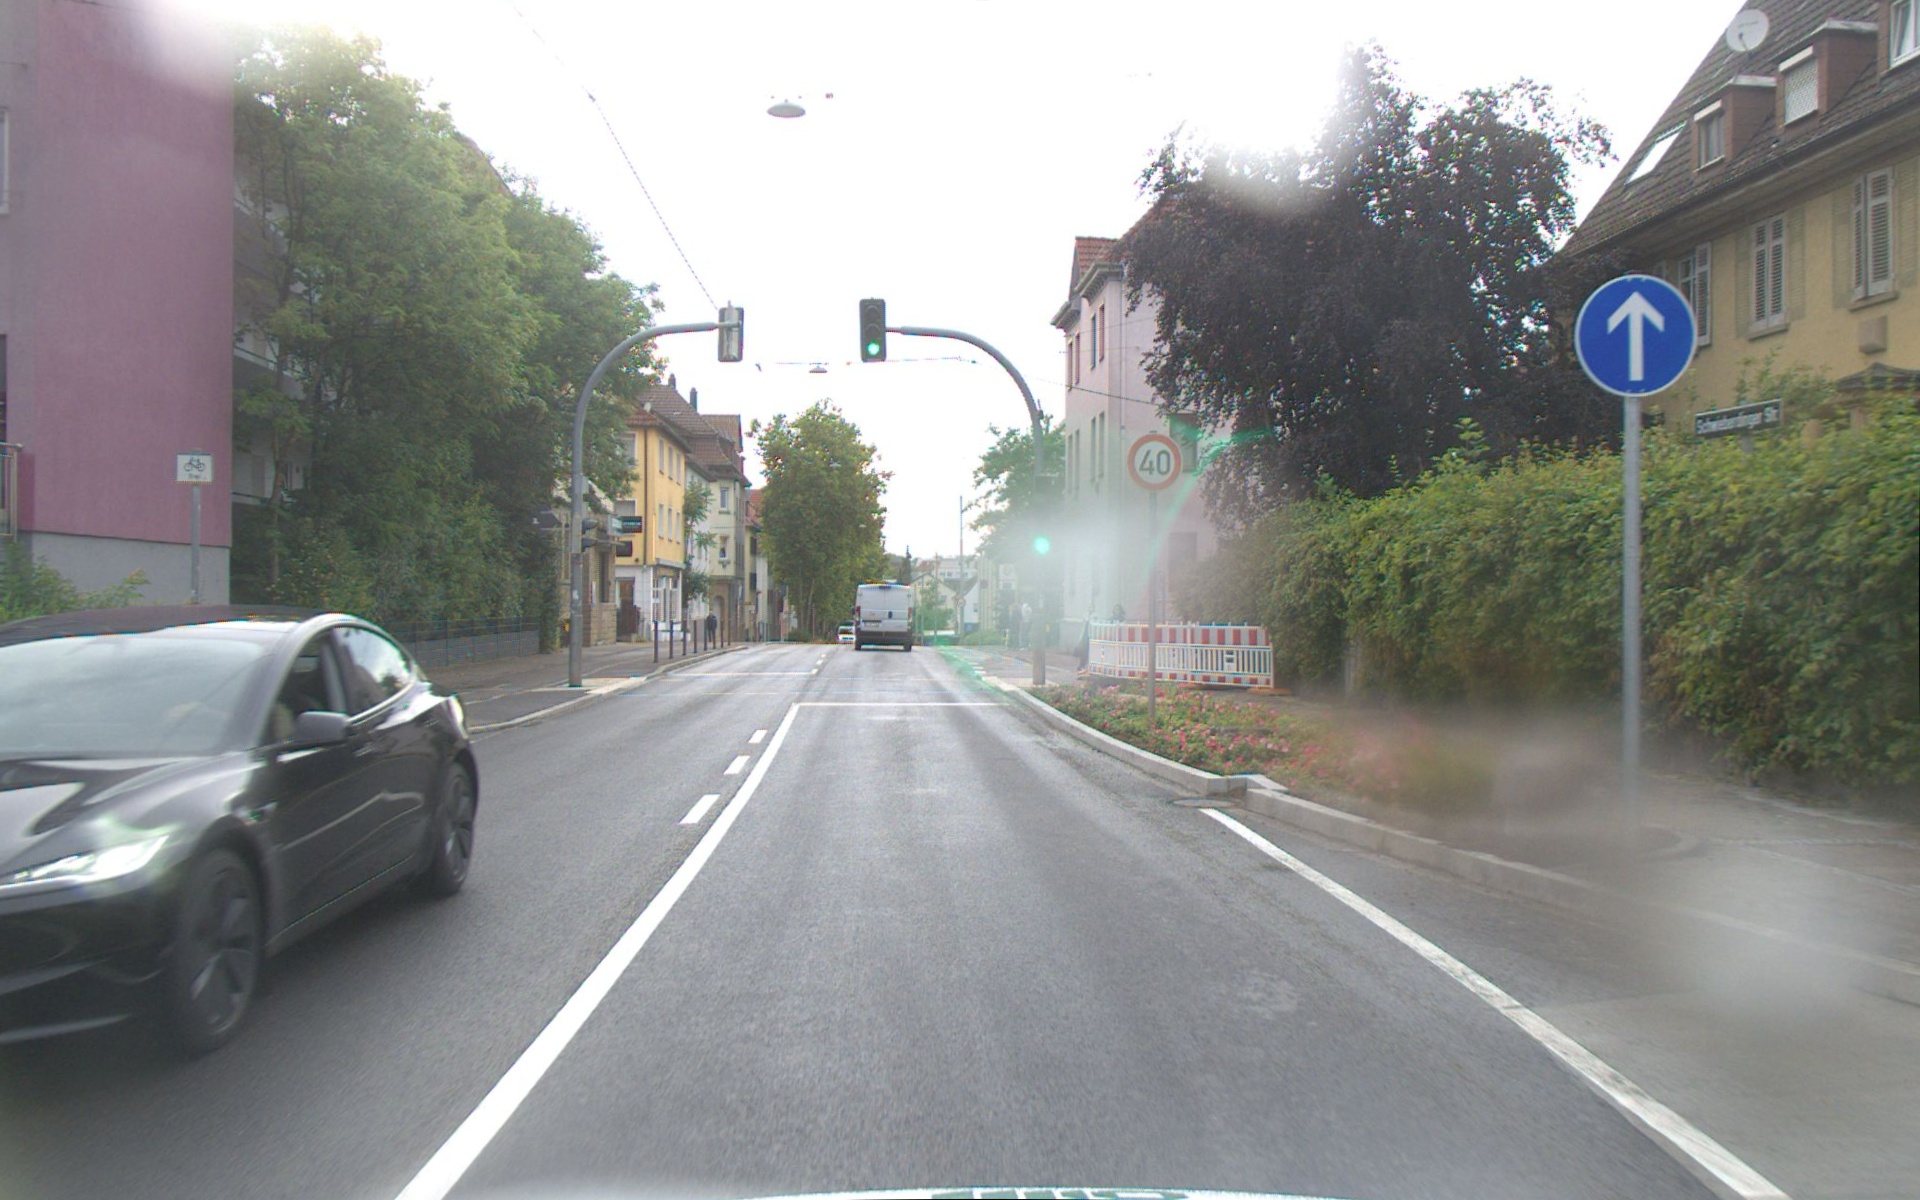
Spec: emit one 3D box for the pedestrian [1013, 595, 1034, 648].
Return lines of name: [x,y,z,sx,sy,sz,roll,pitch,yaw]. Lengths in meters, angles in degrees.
pedestrian: [2.334,0.777,60.747,0.477,1.908,0.631,-3,-1,31]

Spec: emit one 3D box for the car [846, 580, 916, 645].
car: [-2.867,0.433,59.016,2.301,2.198,4.772,0,0,-5]

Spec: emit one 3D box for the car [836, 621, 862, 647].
car: [-8.301,2.590,124.106,1.844,1.903,4.450,0,-2,-3]

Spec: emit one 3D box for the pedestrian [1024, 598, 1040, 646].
pedestrian: [2.664,0.811,61.381,0.437,1.738,0.558,-3,-1,14]

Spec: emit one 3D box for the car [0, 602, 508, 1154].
car: [-3.245,0.767,6.708,1.747,1.478,4.388,0,0,-2]

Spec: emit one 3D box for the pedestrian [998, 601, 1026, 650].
pedestrian: [1.882,0.931,60.227,0.630,1.740,0.739,-2,-1,-37]

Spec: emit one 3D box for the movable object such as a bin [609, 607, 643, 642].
movable object such as a bin: [-14.119,1.042,69.909,1.275,1.427,0.982,1,-1,-4]

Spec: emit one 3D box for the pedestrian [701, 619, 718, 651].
pedestrian: [-13.389,1.887,88.531,0.799,1.709,0.992,1,-2,-6]

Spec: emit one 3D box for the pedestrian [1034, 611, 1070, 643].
pedestrian: [3.819,1.138,68.632,1.330,1.295,0.740,-1,-1,-9]

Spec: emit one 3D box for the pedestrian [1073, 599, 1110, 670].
pedestrian: [3.154,0.824,39.712,0.767,1.670,1.222,1,-1,1]

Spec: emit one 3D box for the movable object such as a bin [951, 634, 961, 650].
movable object such as a bin: [-0.323,3.180,125.078,0.681,1.101,0.778,-3,-2,-2]

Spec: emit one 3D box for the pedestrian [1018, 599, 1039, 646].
pedestrian: [2.673,0.879,64.303,0.648,1.772,0.827,-1,-1,-8]

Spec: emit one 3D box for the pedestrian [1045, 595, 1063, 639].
pedestrian: [3.998,0.723,69.993,0.633,1.863,0.742,-1,-1,11]

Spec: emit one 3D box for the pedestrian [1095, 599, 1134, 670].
pedestrian: [3.561,0.786,38.090,0.856,1.588,1.050,1,-1,6]
